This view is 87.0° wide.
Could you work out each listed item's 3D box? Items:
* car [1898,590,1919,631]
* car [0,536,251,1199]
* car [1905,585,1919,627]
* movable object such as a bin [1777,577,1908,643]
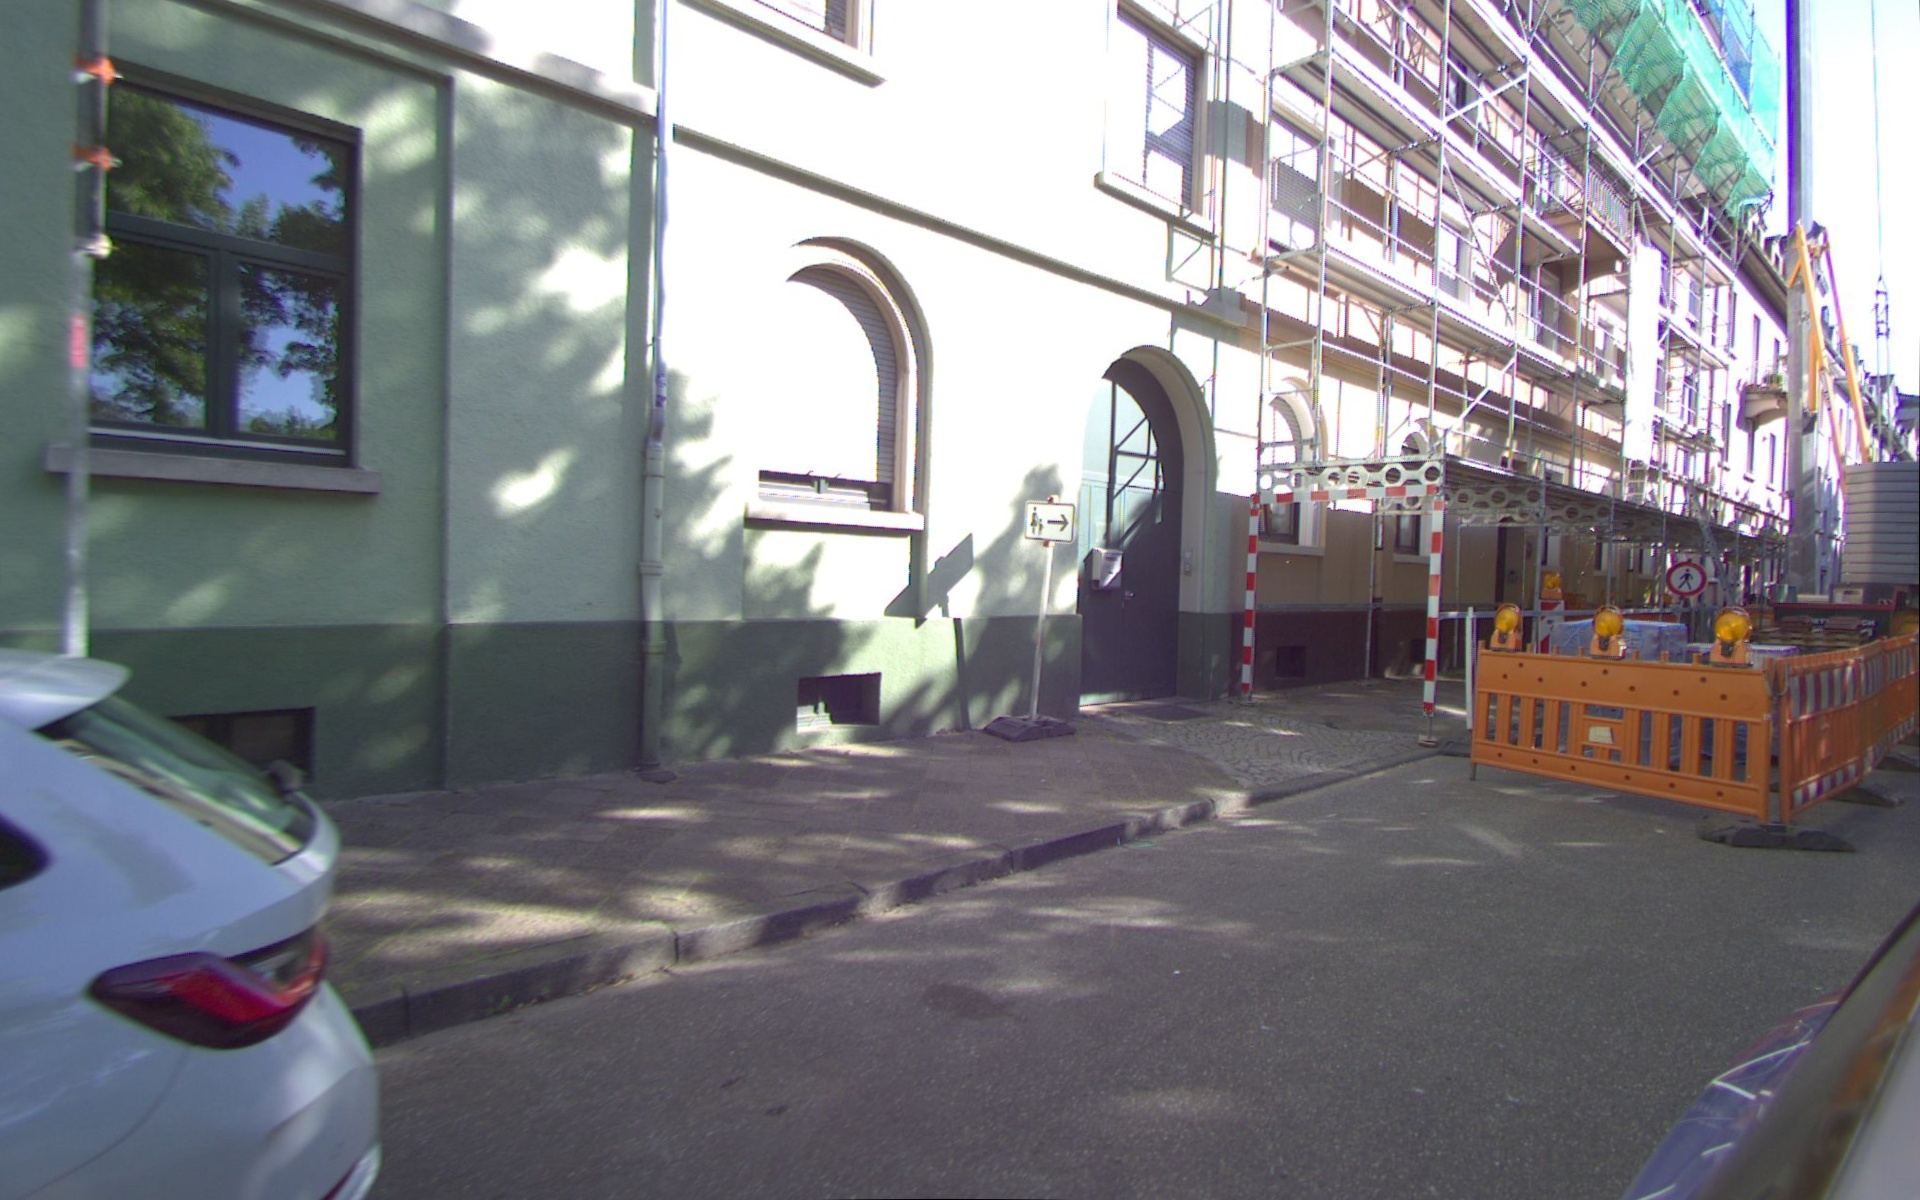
[{"bbox_3d":[36.009,0.394,37.581,1.667,1.445,3.911,4,3,43],"label":"car"},{"bbox_3d":[-3.111,0.658,0.620,4.211,1.530,1.707,0,2,-43],"label":"car"},{"bbox_3d":[39.614,0.262,41.014,4.203,1.619,1.668,0,3,-44],"label":"car"},{"bbox_3d":[22.545,0.238,25.915,1.594,1.545,1.881,2,2,-8],"label":"movable object such as a bin"}]
